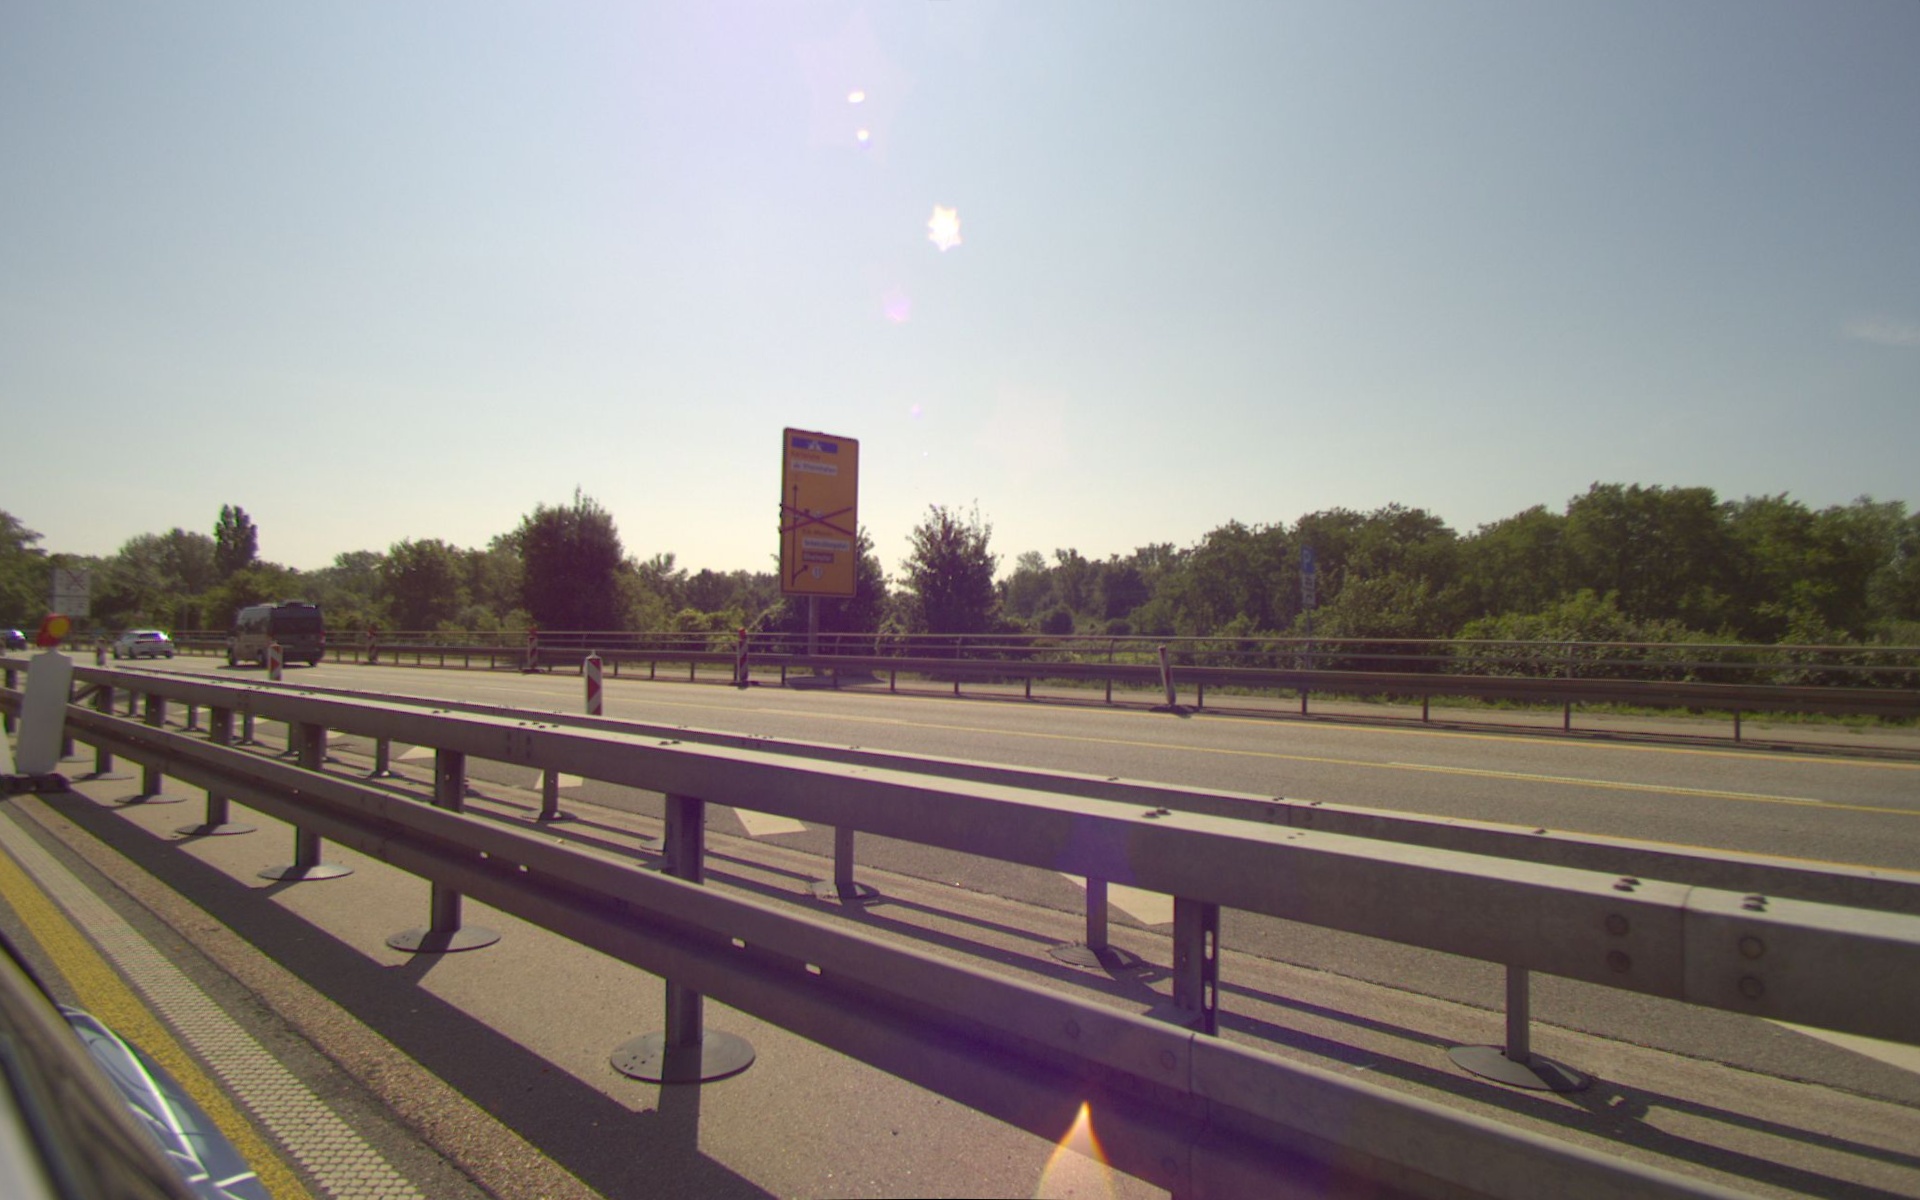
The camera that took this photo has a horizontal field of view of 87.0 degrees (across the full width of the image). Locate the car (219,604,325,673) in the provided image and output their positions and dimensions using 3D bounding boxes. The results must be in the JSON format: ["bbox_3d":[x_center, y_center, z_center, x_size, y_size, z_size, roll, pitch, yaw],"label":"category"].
[{"bbox_3d":[-28.437,1.576,41.757,5.540,2.681,2.124,-2,-3,39],"label":"car"}]

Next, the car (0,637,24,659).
[{"bbox_3d":[-66.836,3.334,70.432,4.639,1.487,1.721,-2,-3,38],"label":"car"}]

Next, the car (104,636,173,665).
[{"bbox_3d":[-42.180,2.585,51.930,4.512,1.408,1.703,-2,-2,37],"label":"car"}]
